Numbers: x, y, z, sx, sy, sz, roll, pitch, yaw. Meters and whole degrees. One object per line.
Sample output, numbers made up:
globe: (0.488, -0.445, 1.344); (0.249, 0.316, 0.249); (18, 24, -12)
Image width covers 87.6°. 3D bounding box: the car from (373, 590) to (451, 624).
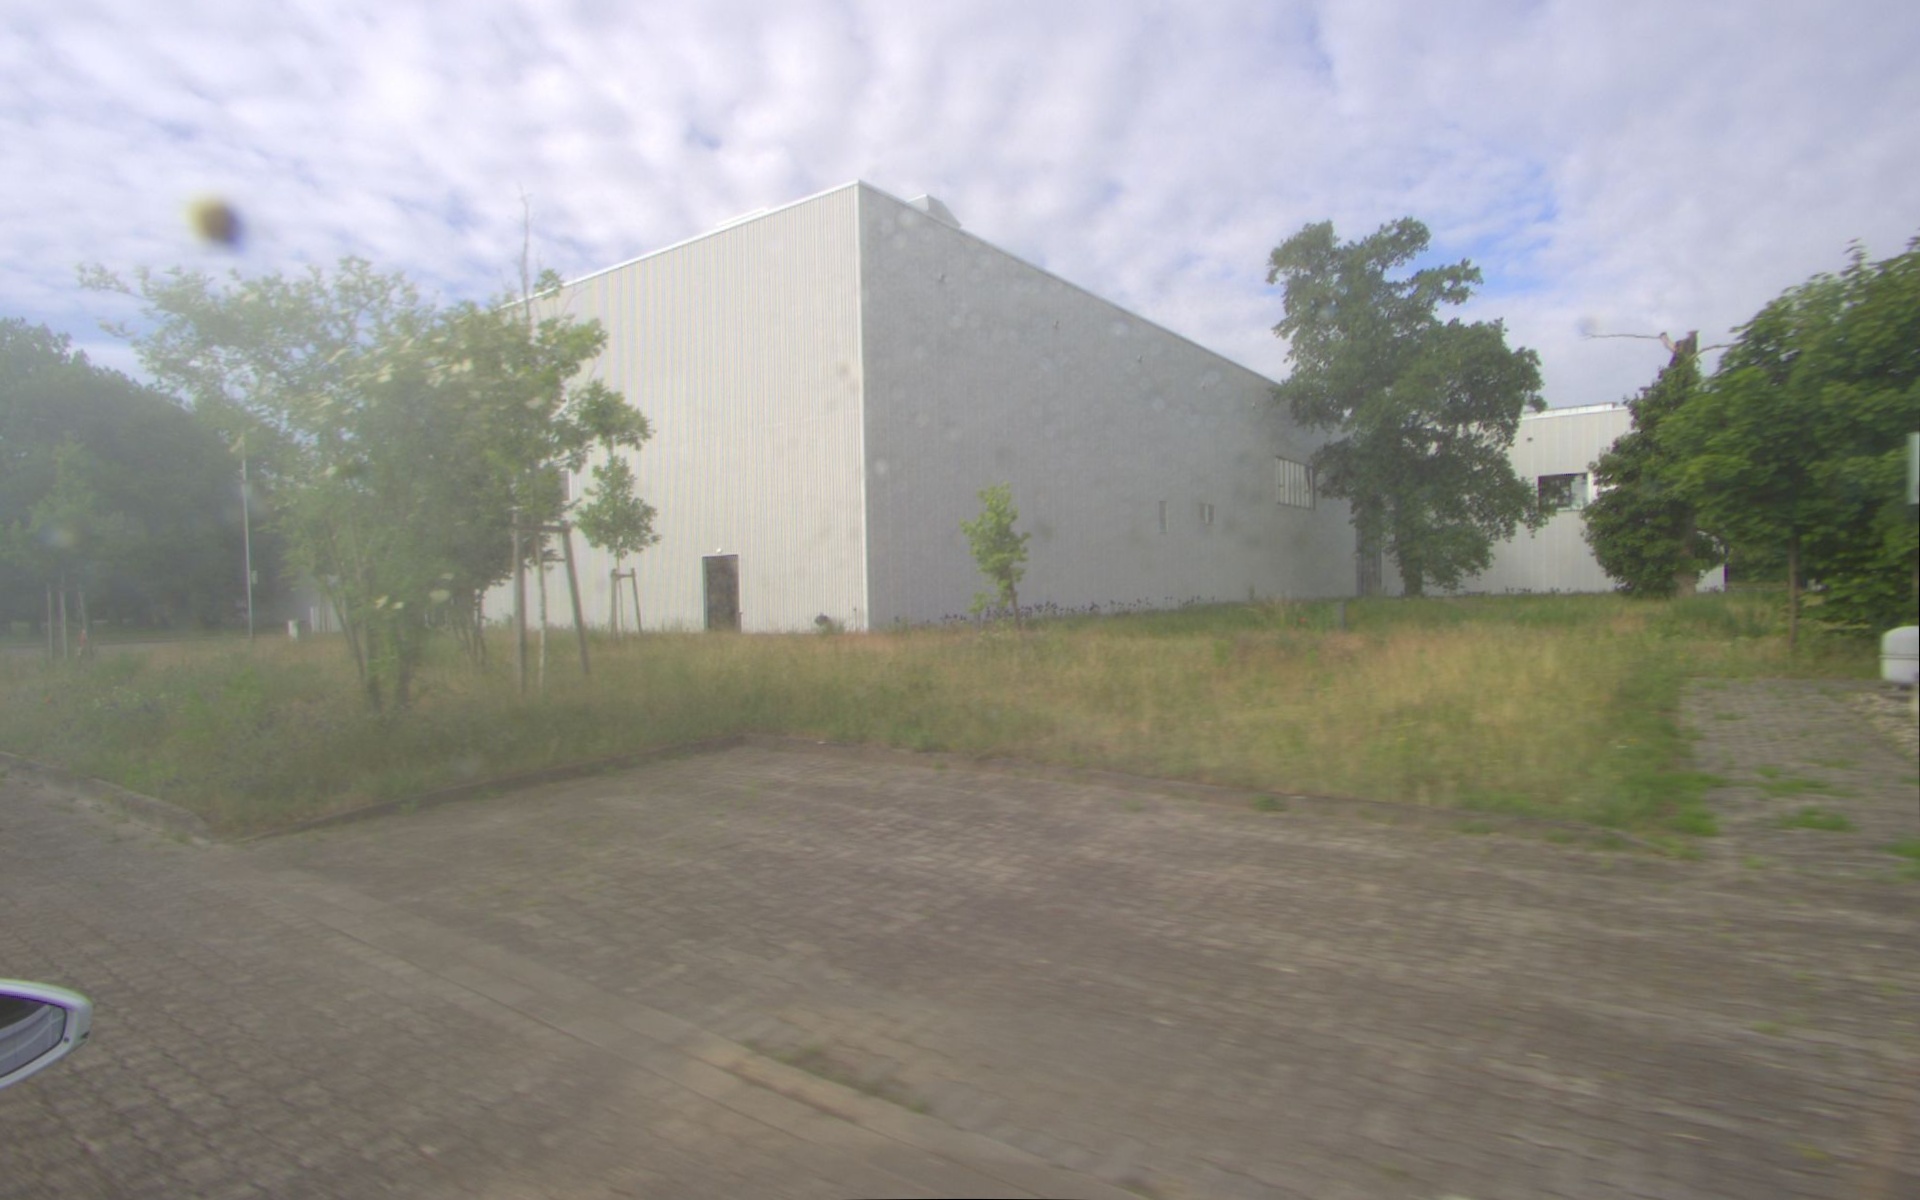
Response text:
car: (-34.373, 0.466, 62.749); (5.266, 2.041, 2.234); (-1, 1, 36)
